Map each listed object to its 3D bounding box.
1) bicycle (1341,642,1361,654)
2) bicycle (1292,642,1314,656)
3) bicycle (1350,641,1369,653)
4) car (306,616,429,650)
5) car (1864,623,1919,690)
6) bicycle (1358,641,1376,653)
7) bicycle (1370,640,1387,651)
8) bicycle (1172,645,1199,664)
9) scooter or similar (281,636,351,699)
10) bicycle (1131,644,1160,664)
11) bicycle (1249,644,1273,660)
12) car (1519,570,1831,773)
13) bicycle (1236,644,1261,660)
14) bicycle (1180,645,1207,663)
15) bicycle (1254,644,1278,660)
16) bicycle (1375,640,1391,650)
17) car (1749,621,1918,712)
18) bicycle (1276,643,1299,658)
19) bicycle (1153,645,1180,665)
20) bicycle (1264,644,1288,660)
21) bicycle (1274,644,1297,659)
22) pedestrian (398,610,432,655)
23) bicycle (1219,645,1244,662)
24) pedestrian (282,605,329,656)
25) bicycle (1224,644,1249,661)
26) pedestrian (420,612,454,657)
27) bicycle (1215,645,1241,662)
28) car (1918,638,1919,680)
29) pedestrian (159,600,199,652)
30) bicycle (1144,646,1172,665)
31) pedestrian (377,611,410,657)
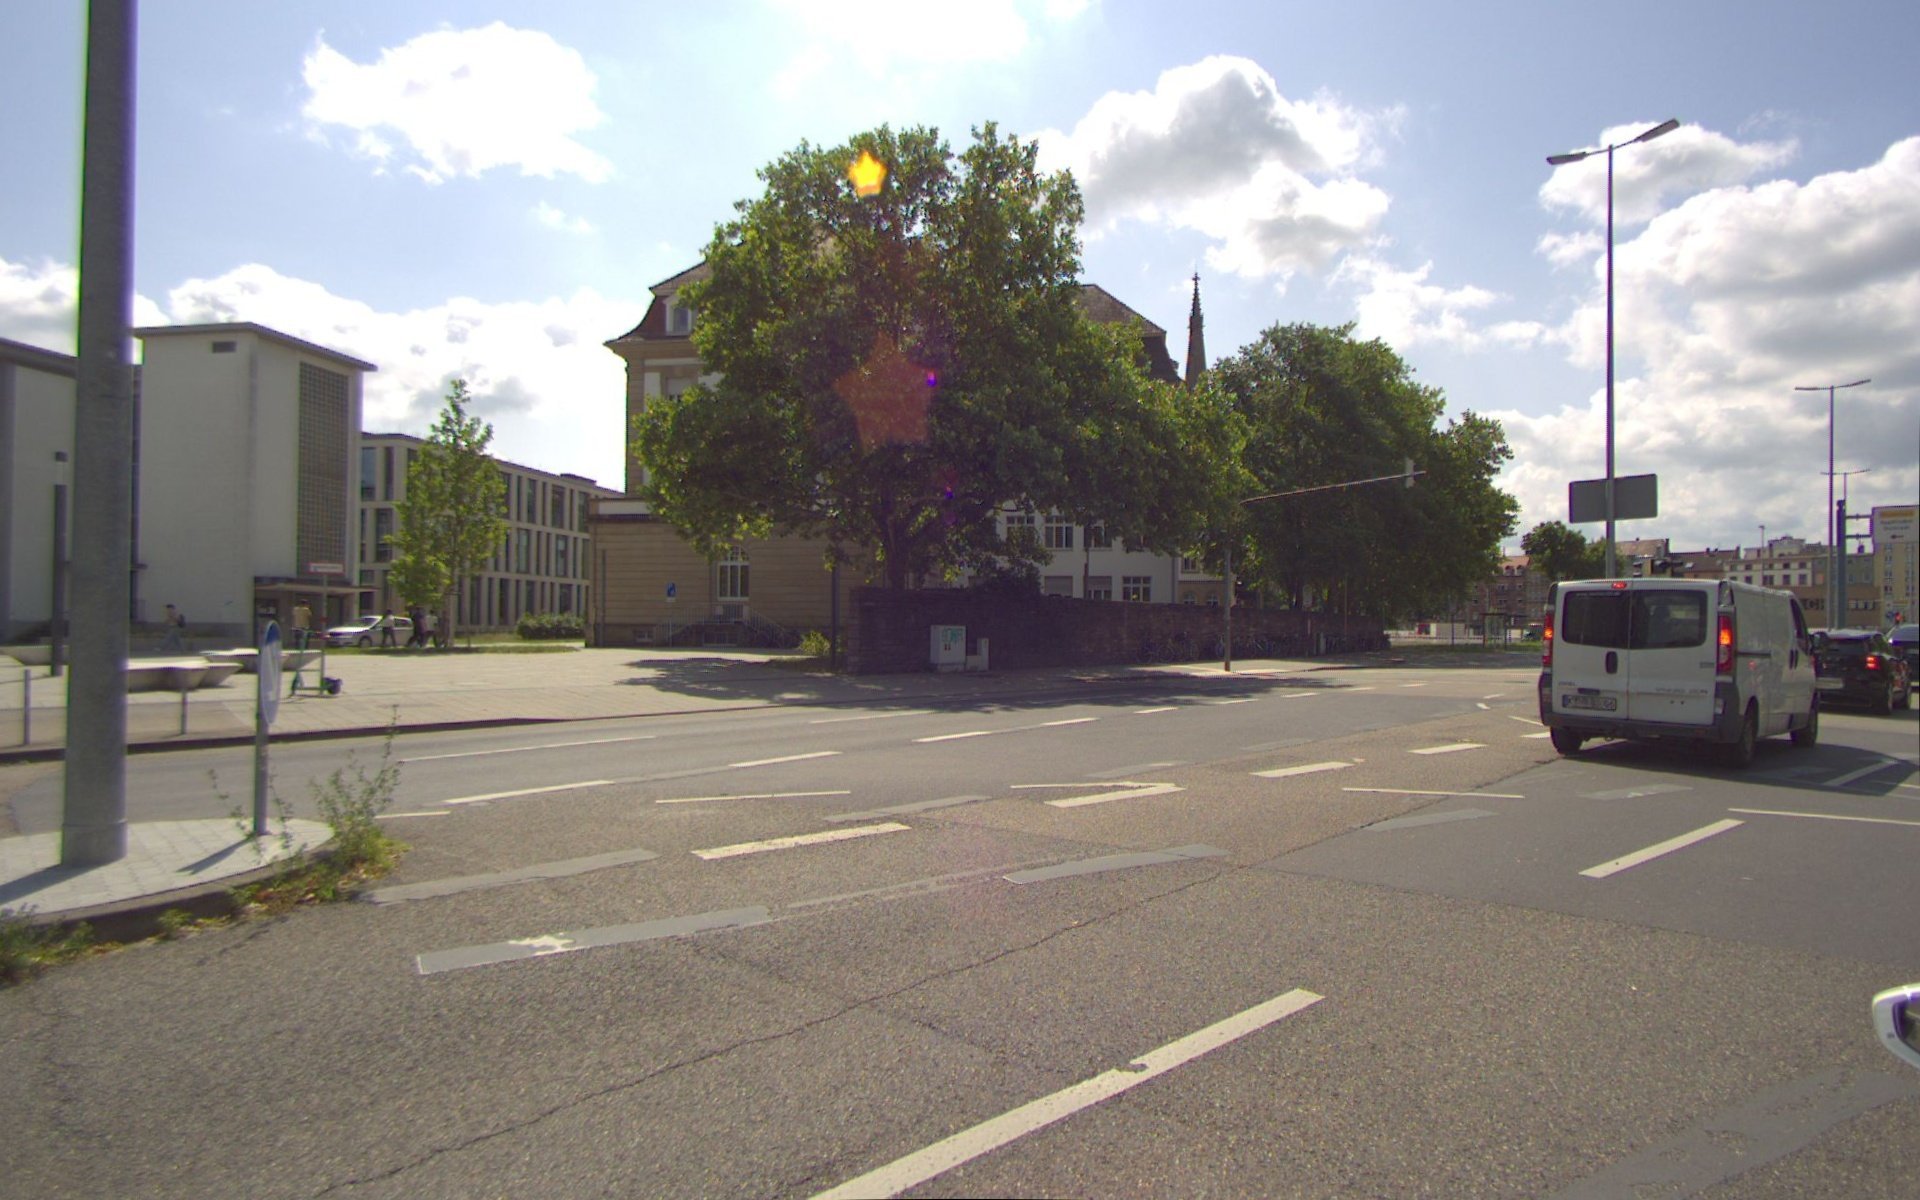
[{"bbox_3d":[22.870,2.814,58.759,0.987,0.691,0.409,2,0,6],"label":"bicycle"},{"bbox_3d":[17.496,2.498,51.201,0.987,0.691,0.409,2,0,6],"label":"bicycle"},{"bbox_3d":[24.435,2.891,61.377,0.987,0.691,0.409,2,0,6],"label":"bicycle"},{"bbox_3d":[-25.319,1.384,43.114,1.959,1.323,4.497,2,0,12],"label":"car"},{"bbox_3d":[25.051,1.443,26.247,4.363,1.622,1.809,2,-1,-44],"label":"car"},{"bbox_3d":[25.584,2.946,63.179,0.987,0.691,0.409,2,0,6],"label":"bicycle"},{"bbox_3d":[28.005,3.065,67.206,0.987,0.691,0.409,2,0,6],"label":"bicycle"},{"bbox_3d":[8.911,2.162,39.753,0.987,0.691,0.409,2,0,19],"label":"bicycle"},{"bbox_3d":[-11.433,1.185,17.837,1.128,1.081,0.403,0,-1,17],"label":"scooter or similar"},{"bbox_3d":[6.844,1.984,37.024,0.987,0.691,0.409,2,0,19],"label":"bicycle"},{"bbox_3d":[13.846,2.390,46.158,0.987,0.691,0.409,2,0,6],"label":"bicycle"},{"bbox_3d":[8.877,0.753,12.259,5.154,1.981,1.988,2,-1,-42],"label":"car"},{"bbox_3d":[13.055,2.356,45.445,0.987,0.691,0.409,2,0,6],"label":"bicycle"},{"bbox_3d":[9.492,2.192,40.813,0.987,0.691,0.409,2,0,19],"label":"bicycle"},{"bbox_3d":[14.223,2.408,46.652,0.987,0.691,0.409,2,0,6],"label":"bicycle"},{"bbox_3d":[29.874,3.162,70.950,0.987,0.691,0.409,2,0,6],"label":"bicycle"},{"bbox_3d":[17.426,1.258,19.951,4.851,1.550,1.998,2,-1,-43],"label":"car"},{"bbox_3d":[16.001,2.485,49.147,0.987,0.691,0.409,2,0,6],"label":"bicycle"},{"bbox_3d":[7.967,2.121,38.738,0.987,0.691,0.409,2,0,19],"label":"bicycle"},{"bbox_3d":[14.901,2.438,47.388,0.987,0.691,0.409,2,0,6],"label":"bicycle"},{"bbox_3d":[15.680,2.474,48.421,0.987,0.691,0.409,2,0,6],"label":"bicycle"},{"bbox_3d":[-22.232,1.327,40.978,0.874,1.813,0.844,0,-1,14],"label":"pedestrian"},{"bbox_3d":[11.700,2.290,43.274,0.987,0.691,0.409,2,0,6],"label":"bicycle"},{"bbox_3d":[-21.963,1.010,33.742,1.286,1.673,1.314,1,-1,-33],"label":"pedestrian"},{"bbox_3d":[12.103,2.310,43.930,0.987,0.691,0.409,2,0,6],"label":"bicycle"},{"bbox_3d":[-21.309,1.384,40.916,0.848,1.813,0.844,0,-1,14],"label":"pedestrian"},{"bbox_3d":[11.388,2.274,42.658,0.987,0.691,0.409,2,0,6],"label":"bicycle"},{"bbox_3d":[32.302,1.909,32.614,3.493,1.343,1.596,2,-1,-44],"label":"car"},{"bbox_3d":[-27.540,0.921,35.417,0.664,1.813,0.844,0,-1,14],"label":"pedestrian"},{"bbox_3d":[7.479,2.097,37.998,0.987,0.691,0.409,2,0,19],"label":"bicycle"},{"bbox_3d":[-23.118,1.381,40.989,0.798,1.813,0.844,0,-1,14],"label":"pedestrian"}]
